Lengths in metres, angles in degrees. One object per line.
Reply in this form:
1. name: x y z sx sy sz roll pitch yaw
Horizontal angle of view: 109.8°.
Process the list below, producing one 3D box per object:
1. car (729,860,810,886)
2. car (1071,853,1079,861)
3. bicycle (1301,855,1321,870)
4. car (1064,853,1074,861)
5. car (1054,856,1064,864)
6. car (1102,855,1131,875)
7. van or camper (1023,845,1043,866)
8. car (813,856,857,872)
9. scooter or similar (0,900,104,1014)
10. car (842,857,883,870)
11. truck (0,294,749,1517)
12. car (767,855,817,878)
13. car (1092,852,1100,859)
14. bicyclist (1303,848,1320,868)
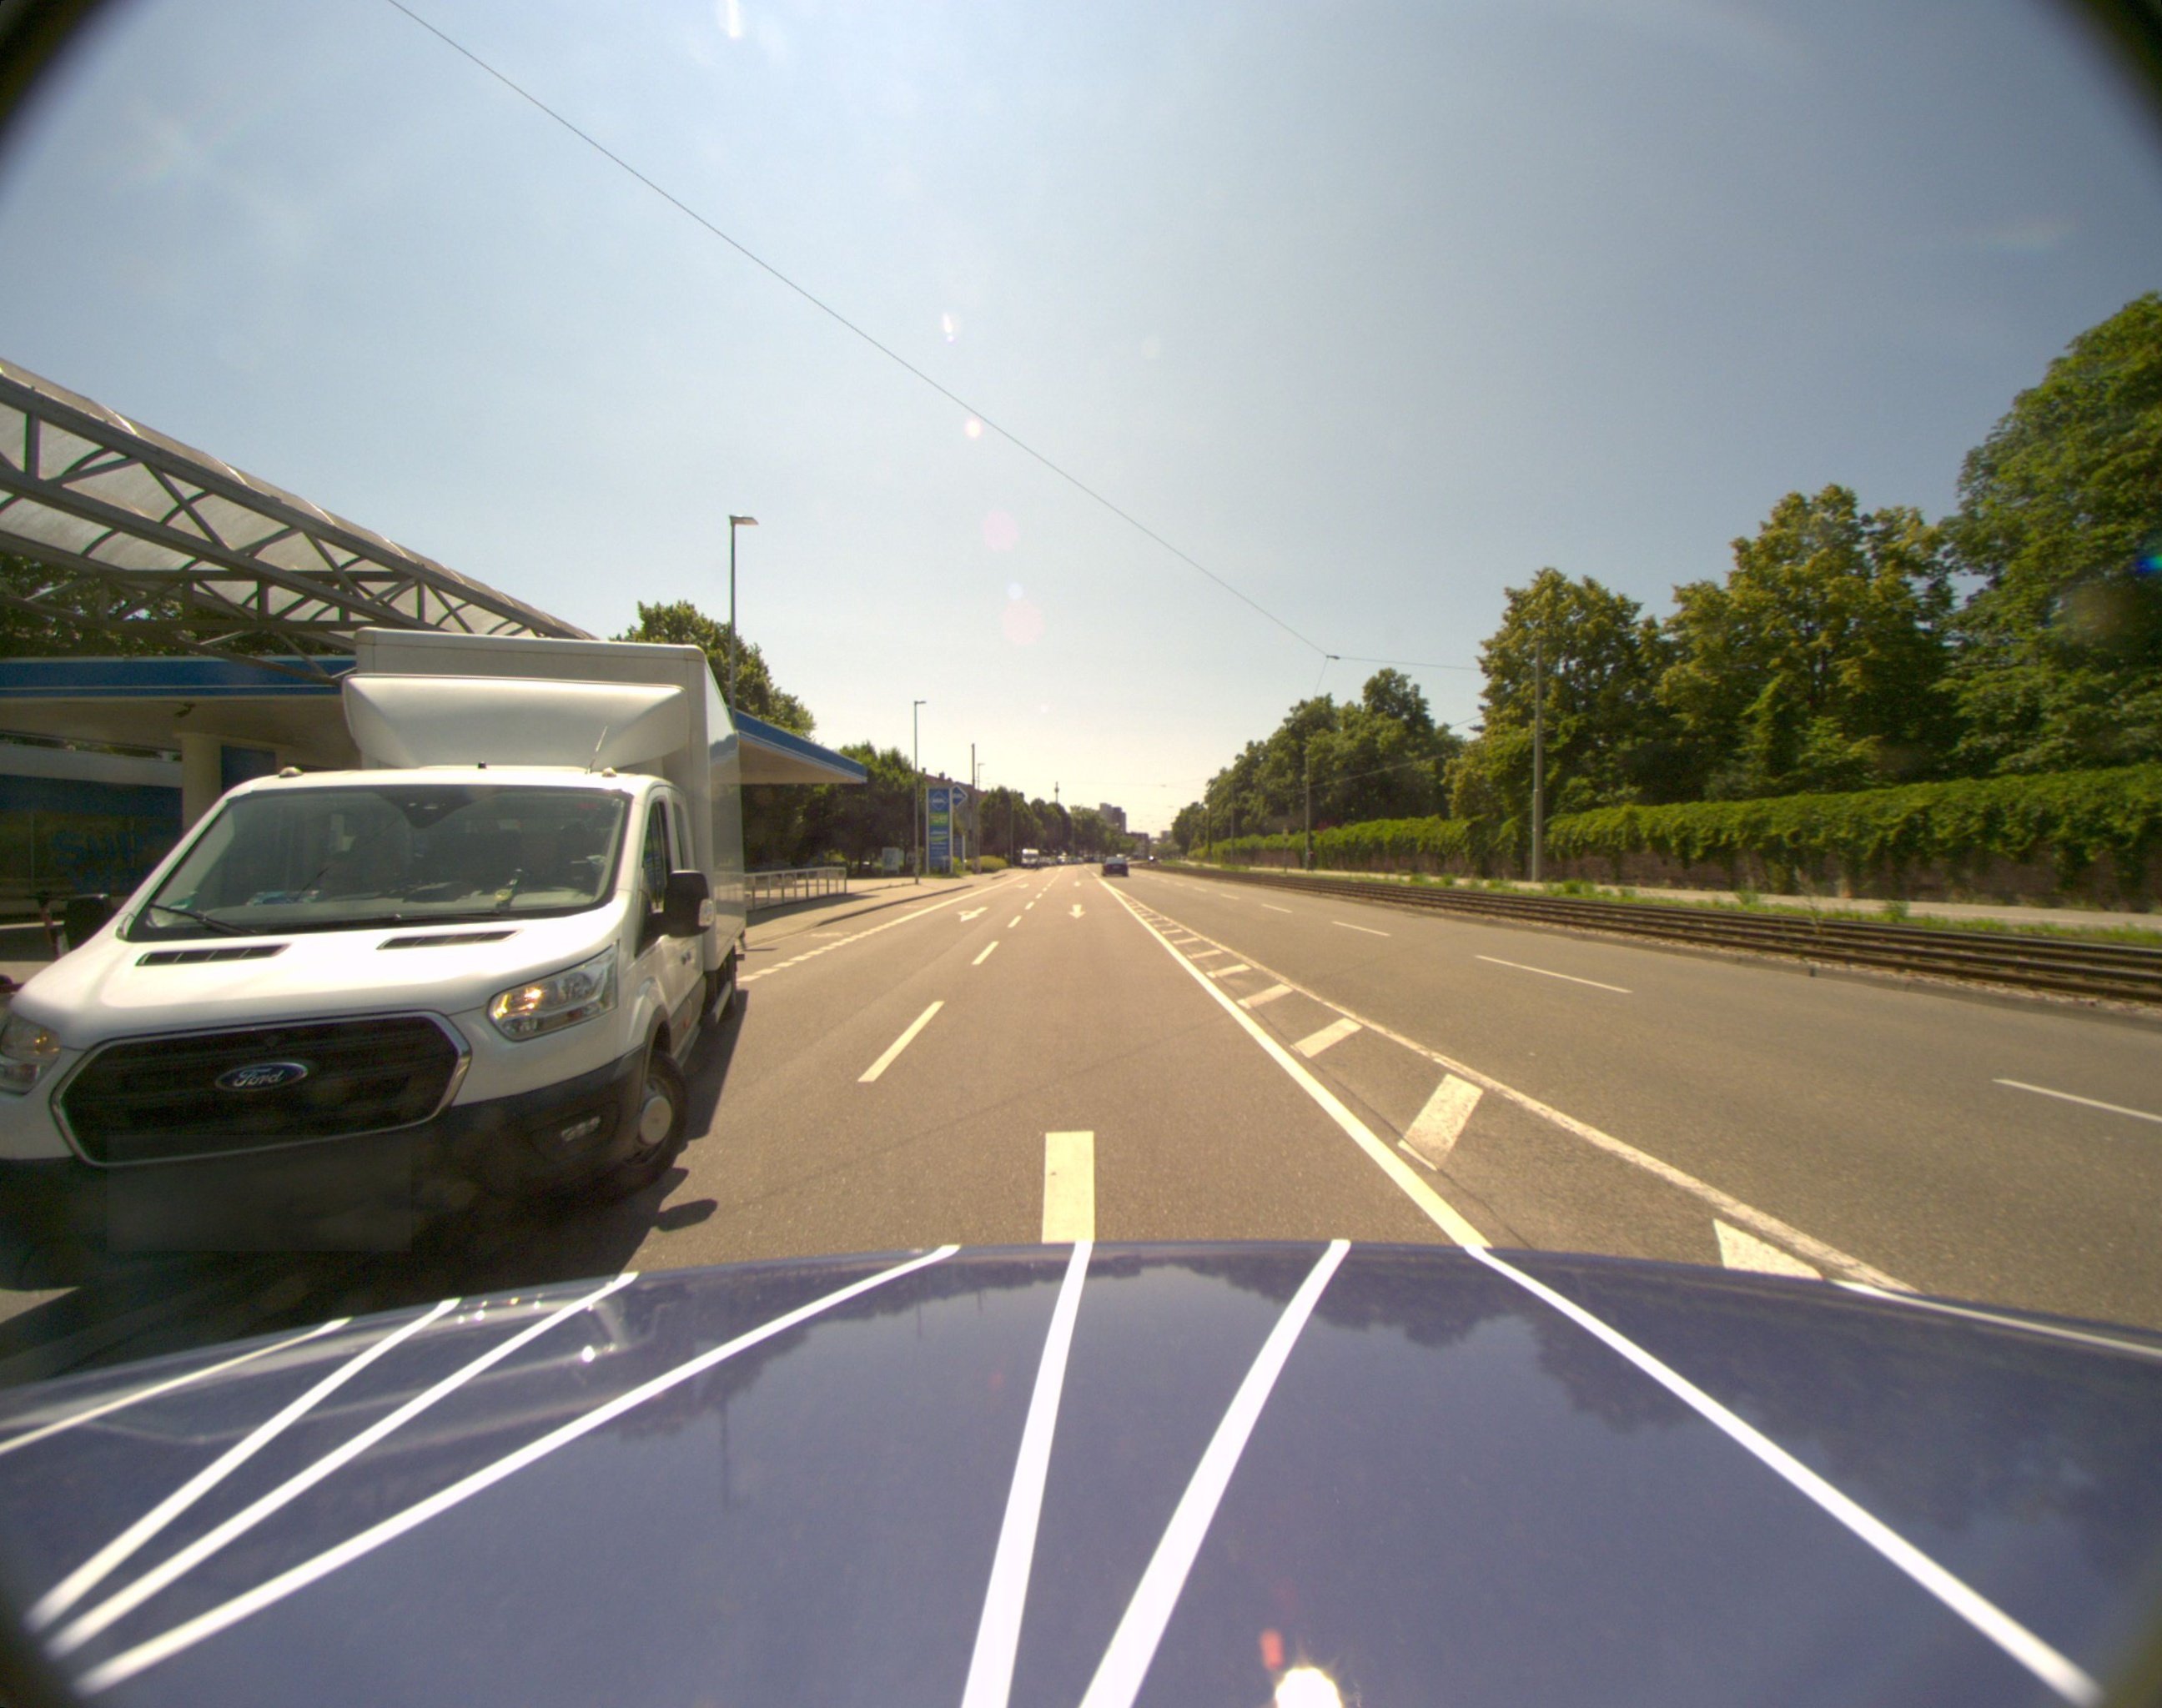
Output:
1. car: -18.228 1.094 44.596 1.714 1.413 4.150 0 0 34
2. car: -1.298 0.602 164.978 1.807 1.585 4.000 -1 0 0
3. bicycle: 17.314 0.625 57.216 0.830 1.149 2.686 -1 0 4
4. car: -2.522 0.563 156.838 1.907 1.707 4.000 -1 0 0
5. car: -4.162 1.118 144.925 1.726 1.586 4.000 -1 0 2
6. car: 2.619 0.769 56.993 1.798 1.391 4.446 -1 0 -2
7. van or camper: -6.018 0.213 96.097 2.126 2.469 5.992 2 0 -1
8. car: -26.774 1.098 82.711 3.992 1.677 2.002 -1 0 14
9. scooter or similar: -11.976 1.163 8.635 1.176 1.233 0.411 -1 1 0
10. car: -25.859 1.126 90.110 4.221 1.512 2.001 -1 0 7
11. truck: -4.148 0.155 5.829 2.430 3.372 7.819 -1 0 -20
12. car: -22.828 0.967 60.187 1.998 1.653 4.411 -1 1 4
13. car: 3.945 0.308 196.115 1.998 1.718 4.000 -1 0 0
14. bicyclist: 17.296 0.281 56.988 0.997 1.477 1.000 -1 1 4
